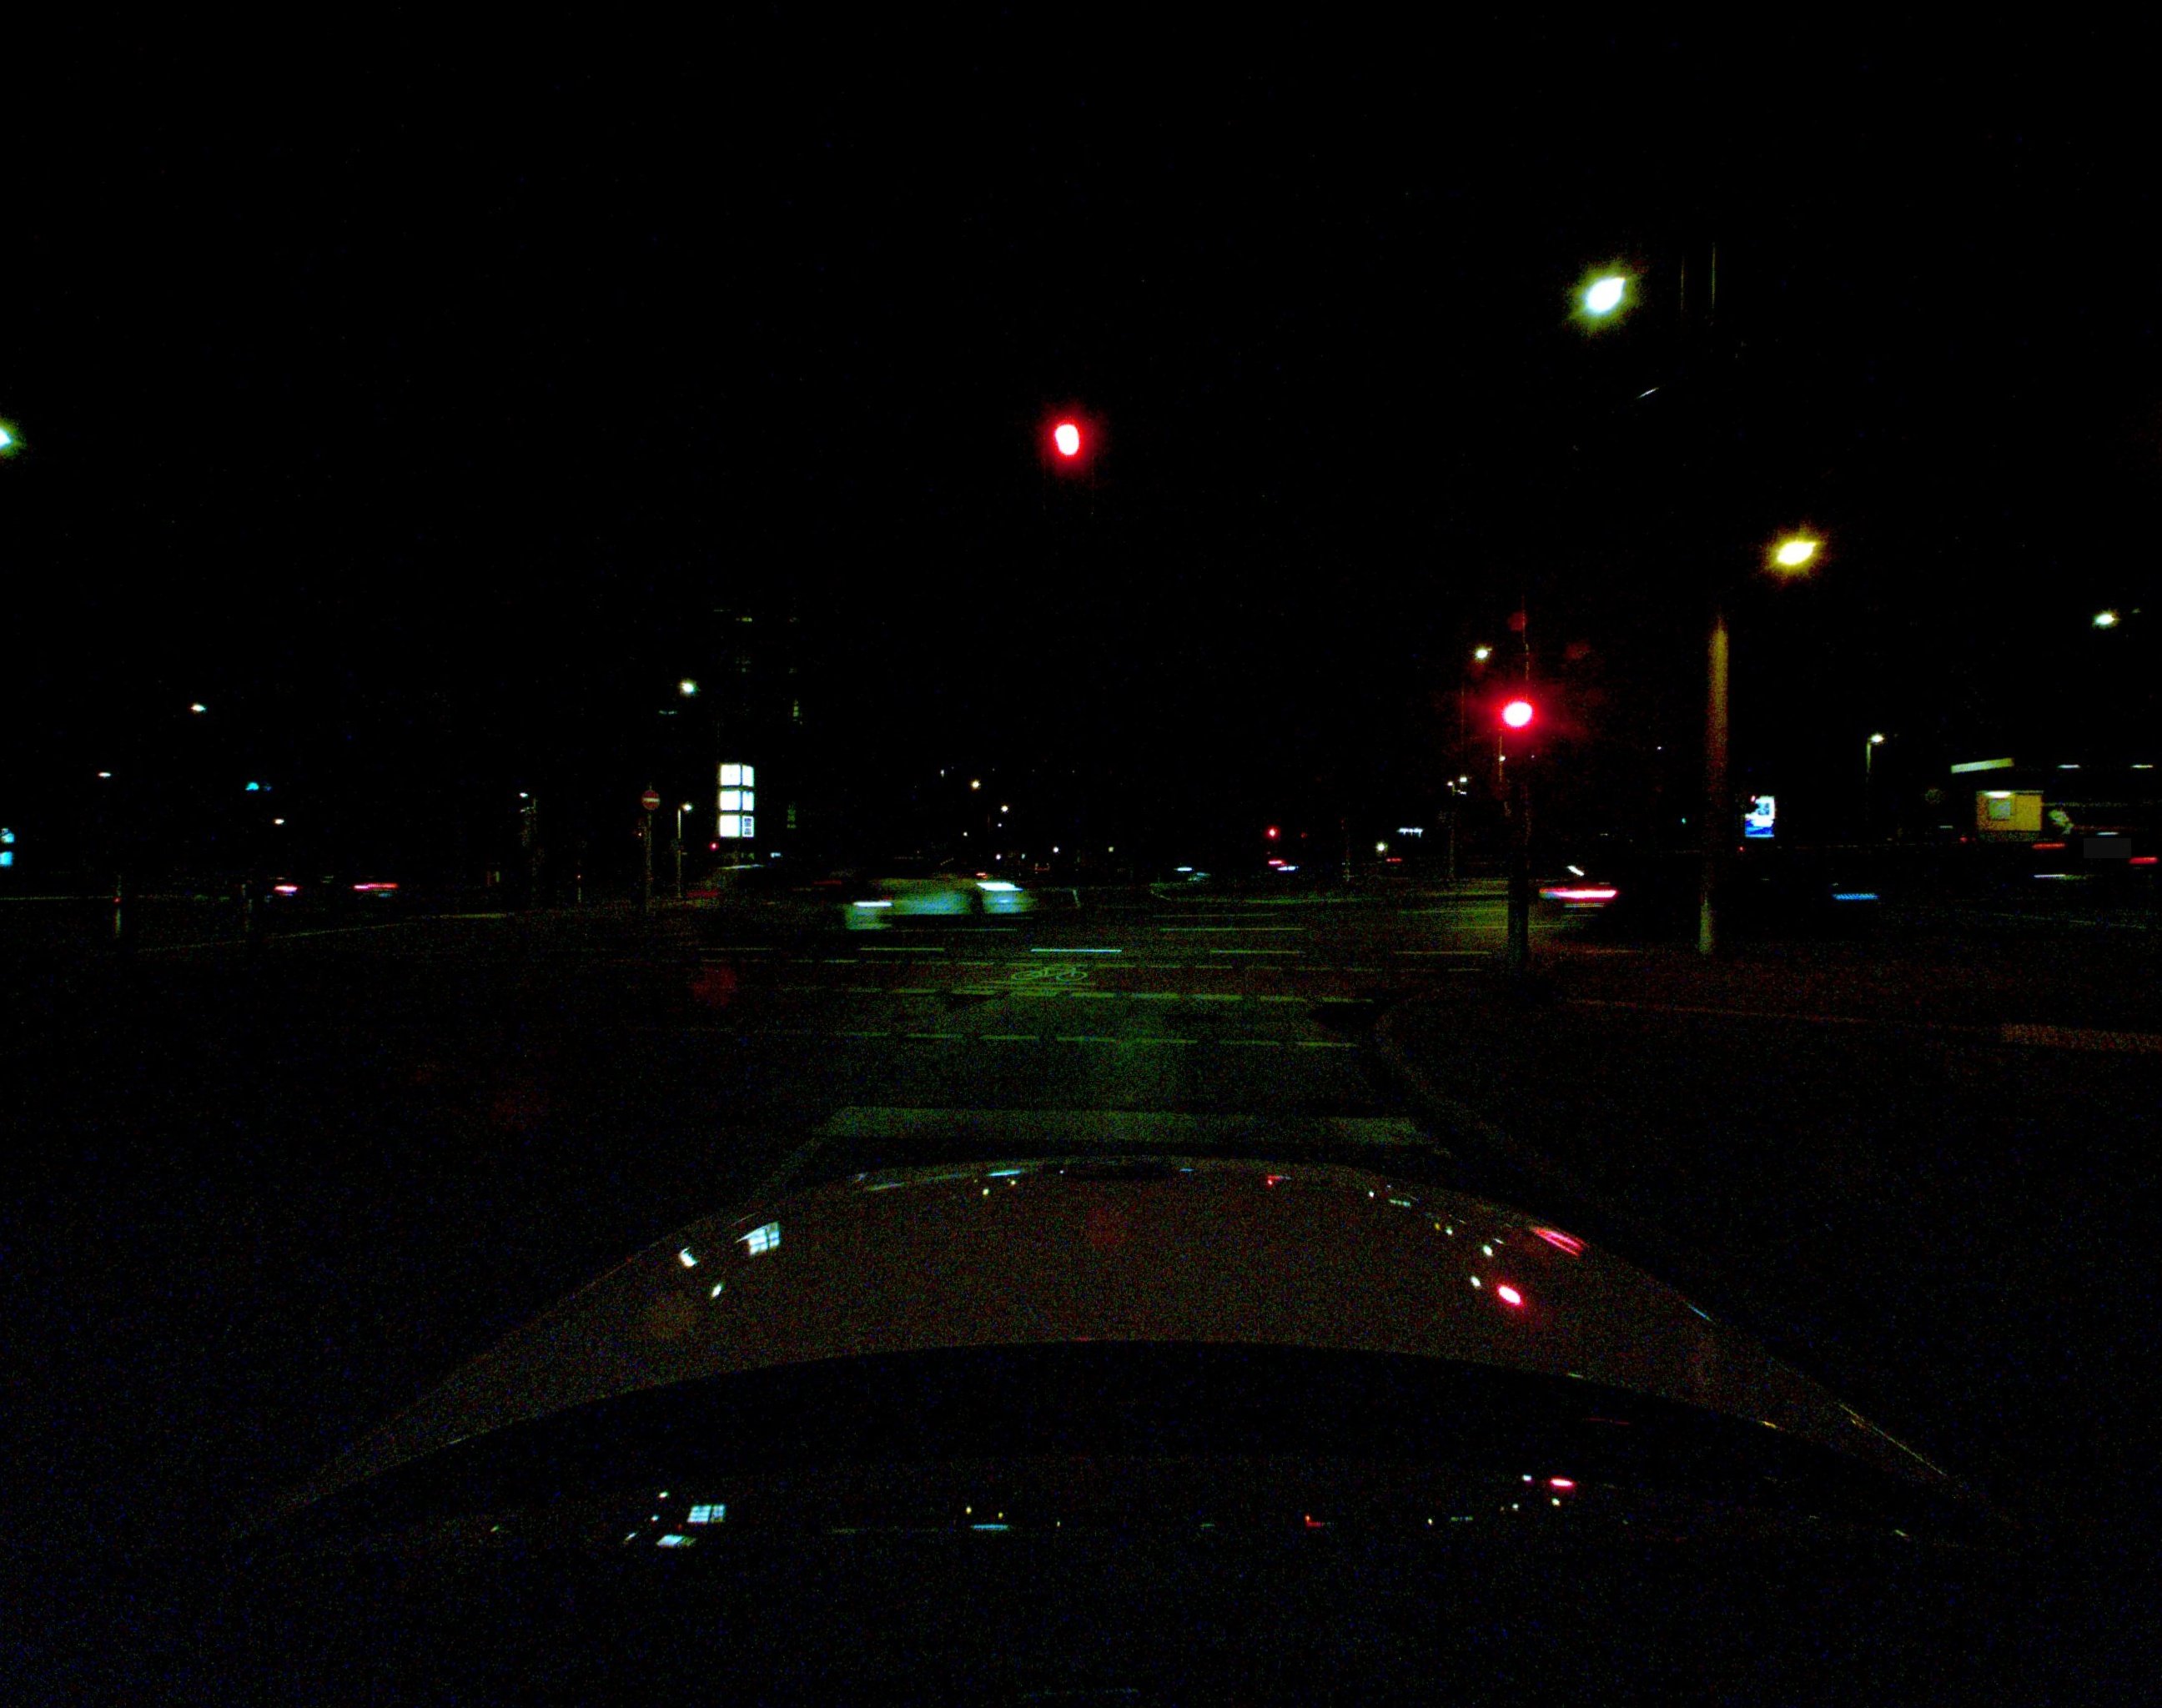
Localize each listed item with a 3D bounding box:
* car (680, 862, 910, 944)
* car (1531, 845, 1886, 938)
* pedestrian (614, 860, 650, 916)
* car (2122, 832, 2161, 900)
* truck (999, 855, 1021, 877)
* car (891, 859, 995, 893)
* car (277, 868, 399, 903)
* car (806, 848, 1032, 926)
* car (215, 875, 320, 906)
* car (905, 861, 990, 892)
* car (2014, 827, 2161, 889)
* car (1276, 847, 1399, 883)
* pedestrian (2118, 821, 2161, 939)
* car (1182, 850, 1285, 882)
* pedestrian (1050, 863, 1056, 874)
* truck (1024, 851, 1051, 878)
[{"bbox_3d":[-5.599,0.932,16.207,3.883,1.437,1.747,-1,0,5],"label":"car"},{"bbox_3d":[11.050,0.631,14.635,4.897,1.473,1.747,-1,0,5],"label":"car"},{"bbox_3d":[-14.134,1.059,25.649,0.671,1.722,0.710,-1,-2,27],"label":"pedestrian"},{"bbox_3d":[25.461,0.190,17.160,4.549,1.419,1.748,-2,2,5],"label":"car"},{"bbox_3d":[-10.499,1.813,120.094,2.419,3.089,6.412,0,-1,-11],"label":"truck"},{"bbox_3d":[-6.411,1.000,38.062,4.406,1.420,1.854,-2,-1,5],"label":"car"},{"bbox_3d":[-37.408,1.584,41.073,4.551,1.585,1.848,-1,1,3],"label":"car"},{"bbox_3d":[-3.752,0.755,19.320,4.897,1.598,1.747,-2,0,5],"label":"car"},{"bbox_3d":[-45.053,2.004,45.138,4.212,1.585,1.806,-2,-2,6],"label":"car"},{"bbox_3d":[-6.732,1.113,41.140,3.852,1.405,1.771,-2,-1,5],"label":"car"},{"bbox_3d":[26.498,0.076,20.248,4.224,1.420,1.750,-1,2,9],"label":"car"},{"bbox_3d":[11.397,0.479,36.471,4.917,1.420,1.854,-2,-1,5],"label":"car"},{"bbox_3d":[15.780,0.343,11.654,0.870,1.656,0.843,-7,-5,42],"label":"pedestrian"},{"bbox_3d":[7.409,0.588,40.027,4.795,1.420,1.854,-2,-1,5],"label":"car"},{"bbox_3d":[-5.073,2.629,147.951,0.851,1.912,1.001,0,-1,-16],"label":"pedestrian"},{"bbox_3d":[-7.999,1.934,149.248,3.366,4.843,7.865,0,-1,-14],"label":"truck"}]
